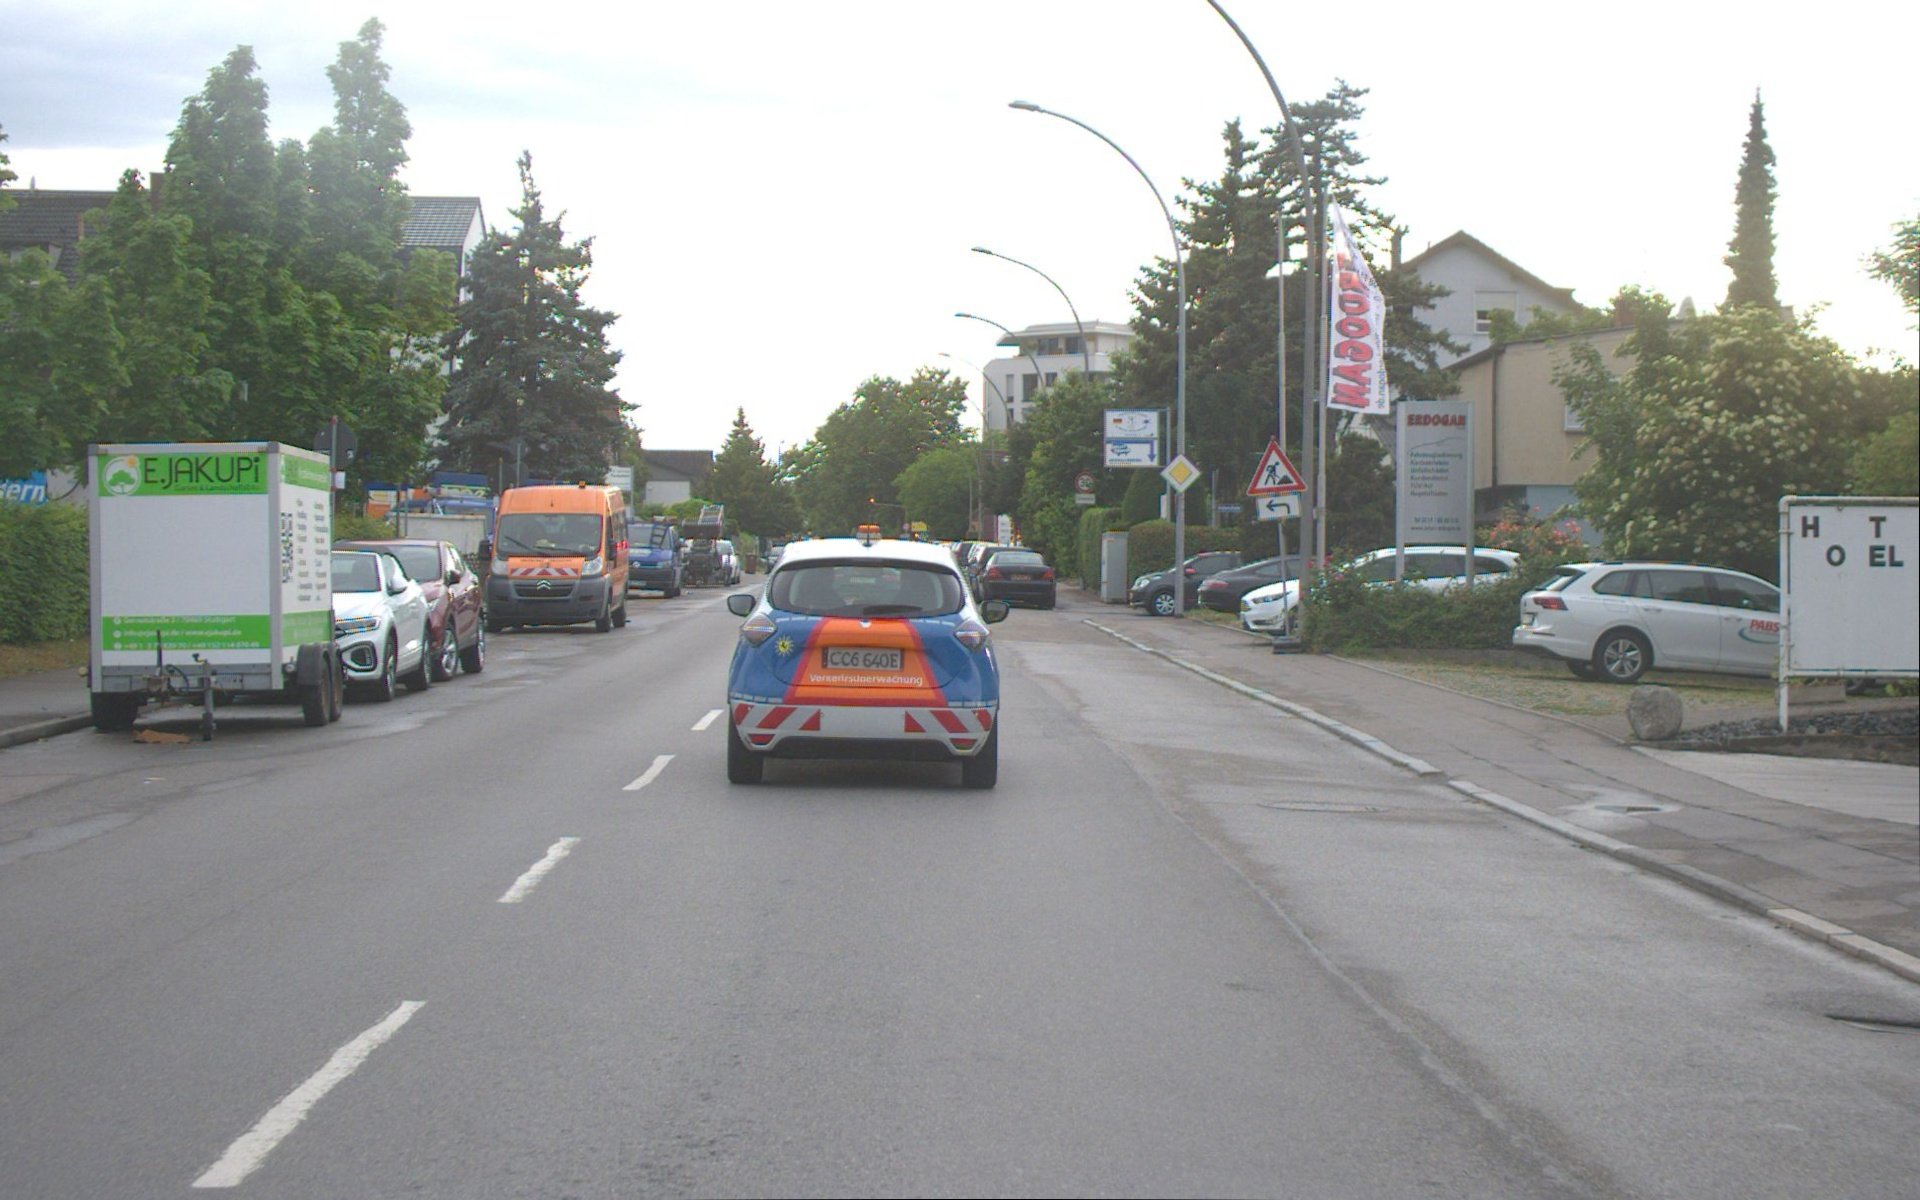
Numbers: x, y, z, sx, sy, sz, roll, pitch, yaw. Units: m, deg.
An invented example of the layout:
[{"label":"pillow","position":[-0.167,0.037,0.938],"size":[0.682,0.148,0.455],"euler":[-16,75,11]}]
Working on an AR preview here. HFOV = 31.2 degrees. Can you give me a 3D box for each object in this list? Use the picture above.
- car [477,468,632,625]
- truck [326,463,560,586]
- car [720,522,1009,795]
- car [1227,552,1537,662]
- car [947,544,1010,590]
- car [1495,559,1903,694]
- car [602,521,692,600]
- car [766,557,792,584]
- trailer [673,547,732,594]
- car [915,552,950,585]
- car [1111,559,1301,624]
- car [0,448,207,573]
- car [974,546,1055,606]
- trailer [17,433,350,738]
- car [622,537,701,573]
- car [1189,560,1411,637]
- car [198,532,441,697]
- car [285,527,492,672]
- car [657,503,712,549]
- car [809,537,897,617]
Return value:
[{"label":"car","position":[-6.959,-0.929,59.623],"size":[2.124,2.529,6.022],"euler":[1,1,-2]},{"label":"truck","position":[-14.117,-2.055,94.172],"size":[5.911,3.063,2.450],"euler":[3,0,0]},{"label":"car","position":[-0.647,0.349,22.745],"size":[1.731,1.625,3.495],"euler":[1,0,-2]},{"label":"car","position":[6.319,0.105,51.829],"size":[4.337,1.470,1.903],"euler":[2,0,-2]},{"label":"car","position":[0.594,-1.093,114.014],"size":[1.711,1.433,4.527],"euler":[3,0,-4]},{"label":"car","position":[8.846,0.307,41.366],"size":[4.415,1.388,1.880],"euler":[3,0,-2]},{"label":"car","position":[-8.249,-1.027,91.057],"size":[1.993,1.940,5.366],"euler":[3,0,-2]},{"label":"car","position":[-10.268,-1.700,194.918],"size":[1.386,1.478,3.784],"euler":[1,1,-3]},{"label":"trailer","position":[-8.134,-0.951,108.902],"size":[1.717,1.256,5.245],"euler":[3,2,-3]},{"label":"car","position":[-1.482,-1.680,184.316],"size":[1.650,1.666,4.000],"euler":[3,0,-3]},{"label":"car","position":[5.462,-0.192,76.733],"size":[3.986,1.262,1.951],"euler":[3,0,-3]},{"label":"car","position":[-15.709,-1.587,60.706],"size":[4.306,2.007,2.063],"euler":[3,0,-1]},{"label":"car","position":[1.274,-0.581,82.043],"size":[1.589,1.336,4.093],"euler":[3,1,-3]},{"label":"trailer","position":[-6.363,-0.146,28.687],"size":[1.812,2.306,4.731],"euler":[-1,1,-2]},{"label":"car","position":[-14.719,-2.215,169.535],"size":[3.759,1.571,1.655],"euler":[3,0,-5]},{"label":"car","position":[6.404,-0.029,65.070],"size":[3.987,1.262,1.951],"euler":[3,0,1]},{"label":"car","position":[-6.349,0.095,34.483],"size":[1.772,1.493,4.137],"euler":[1,1,-2]},{"label":"car","position":[-6.601,-0.047,40.102],"size":[1.805,1.568,4.343],"euler":[1,1,-2]},{"label":"car","position":[-9.192,-2.454,114.821],"size":[1.557,1.428,4.000],"euler":[3,0,-1]},{"label":"car","position":[-2.213,-0.462,70.346],"size":[1.650,1.516,4.000],"euler":[3,0,-3]}]
